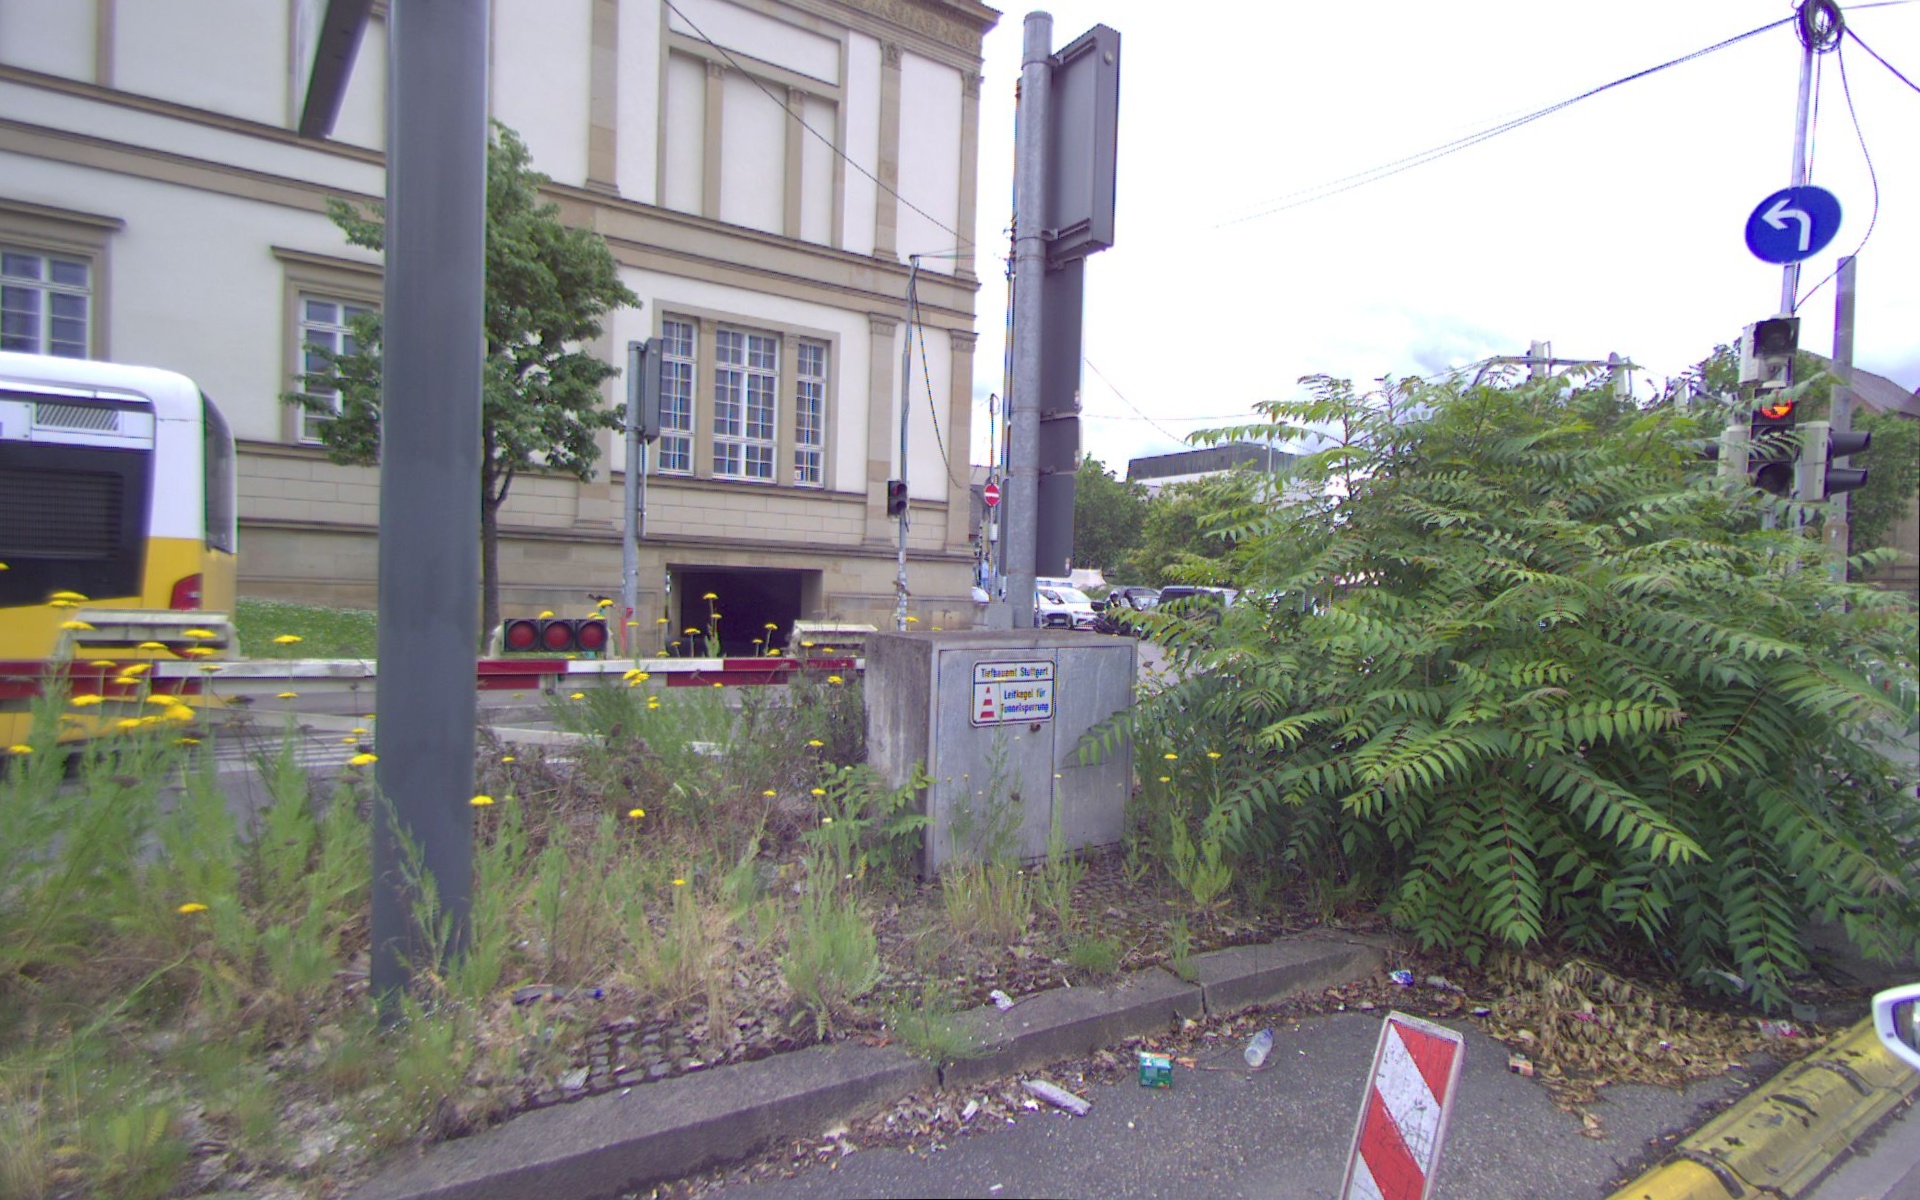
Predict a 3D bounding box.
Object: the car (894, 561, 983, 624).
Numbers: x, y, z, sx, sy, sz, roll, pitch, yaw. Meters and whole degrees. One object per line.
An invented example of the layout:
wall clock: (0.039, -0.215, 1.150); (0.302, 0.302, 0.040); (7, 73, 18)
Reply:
car: (-0.985, -0.324, 43.761); (1.978, 2.585, 4.083); (2, 0, -32)

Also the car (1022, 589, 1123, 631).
car: (4.491, 0.381, 40.688); (1.978, 1.568, 4.085); (2, 0, -31)

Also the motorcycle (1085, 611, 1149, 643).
motorcycle: (5.078, 0.860, 32.668); (0.690, 0.953, 2.335); (2, 0, -32)

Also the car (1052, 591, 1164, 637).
car: (5.472, 0.504, 37.637); (1.978, 1.568, 4.084); (2, 0, -32)

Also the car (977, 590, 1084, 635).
car: (2.575, 0.434, 37.646); (1.978, 1.568, 4.083); (2, 0, -32)

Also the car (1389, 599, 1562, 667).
car: (16.324, 0.993, 31.974); (4.443, 1.783, 1.988); (5, 2, 45)

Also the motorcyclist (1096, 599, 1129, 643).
motorcyclist: (4.988, 0.670, 32.797); (0.690, 1.398, 0.784); (2, 0, -33)

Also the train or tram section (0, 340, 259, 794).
train or tram section: (-10.160, -0.272, 6.273); (9.229, 3.112, 2.680); (1, -1, -31)
